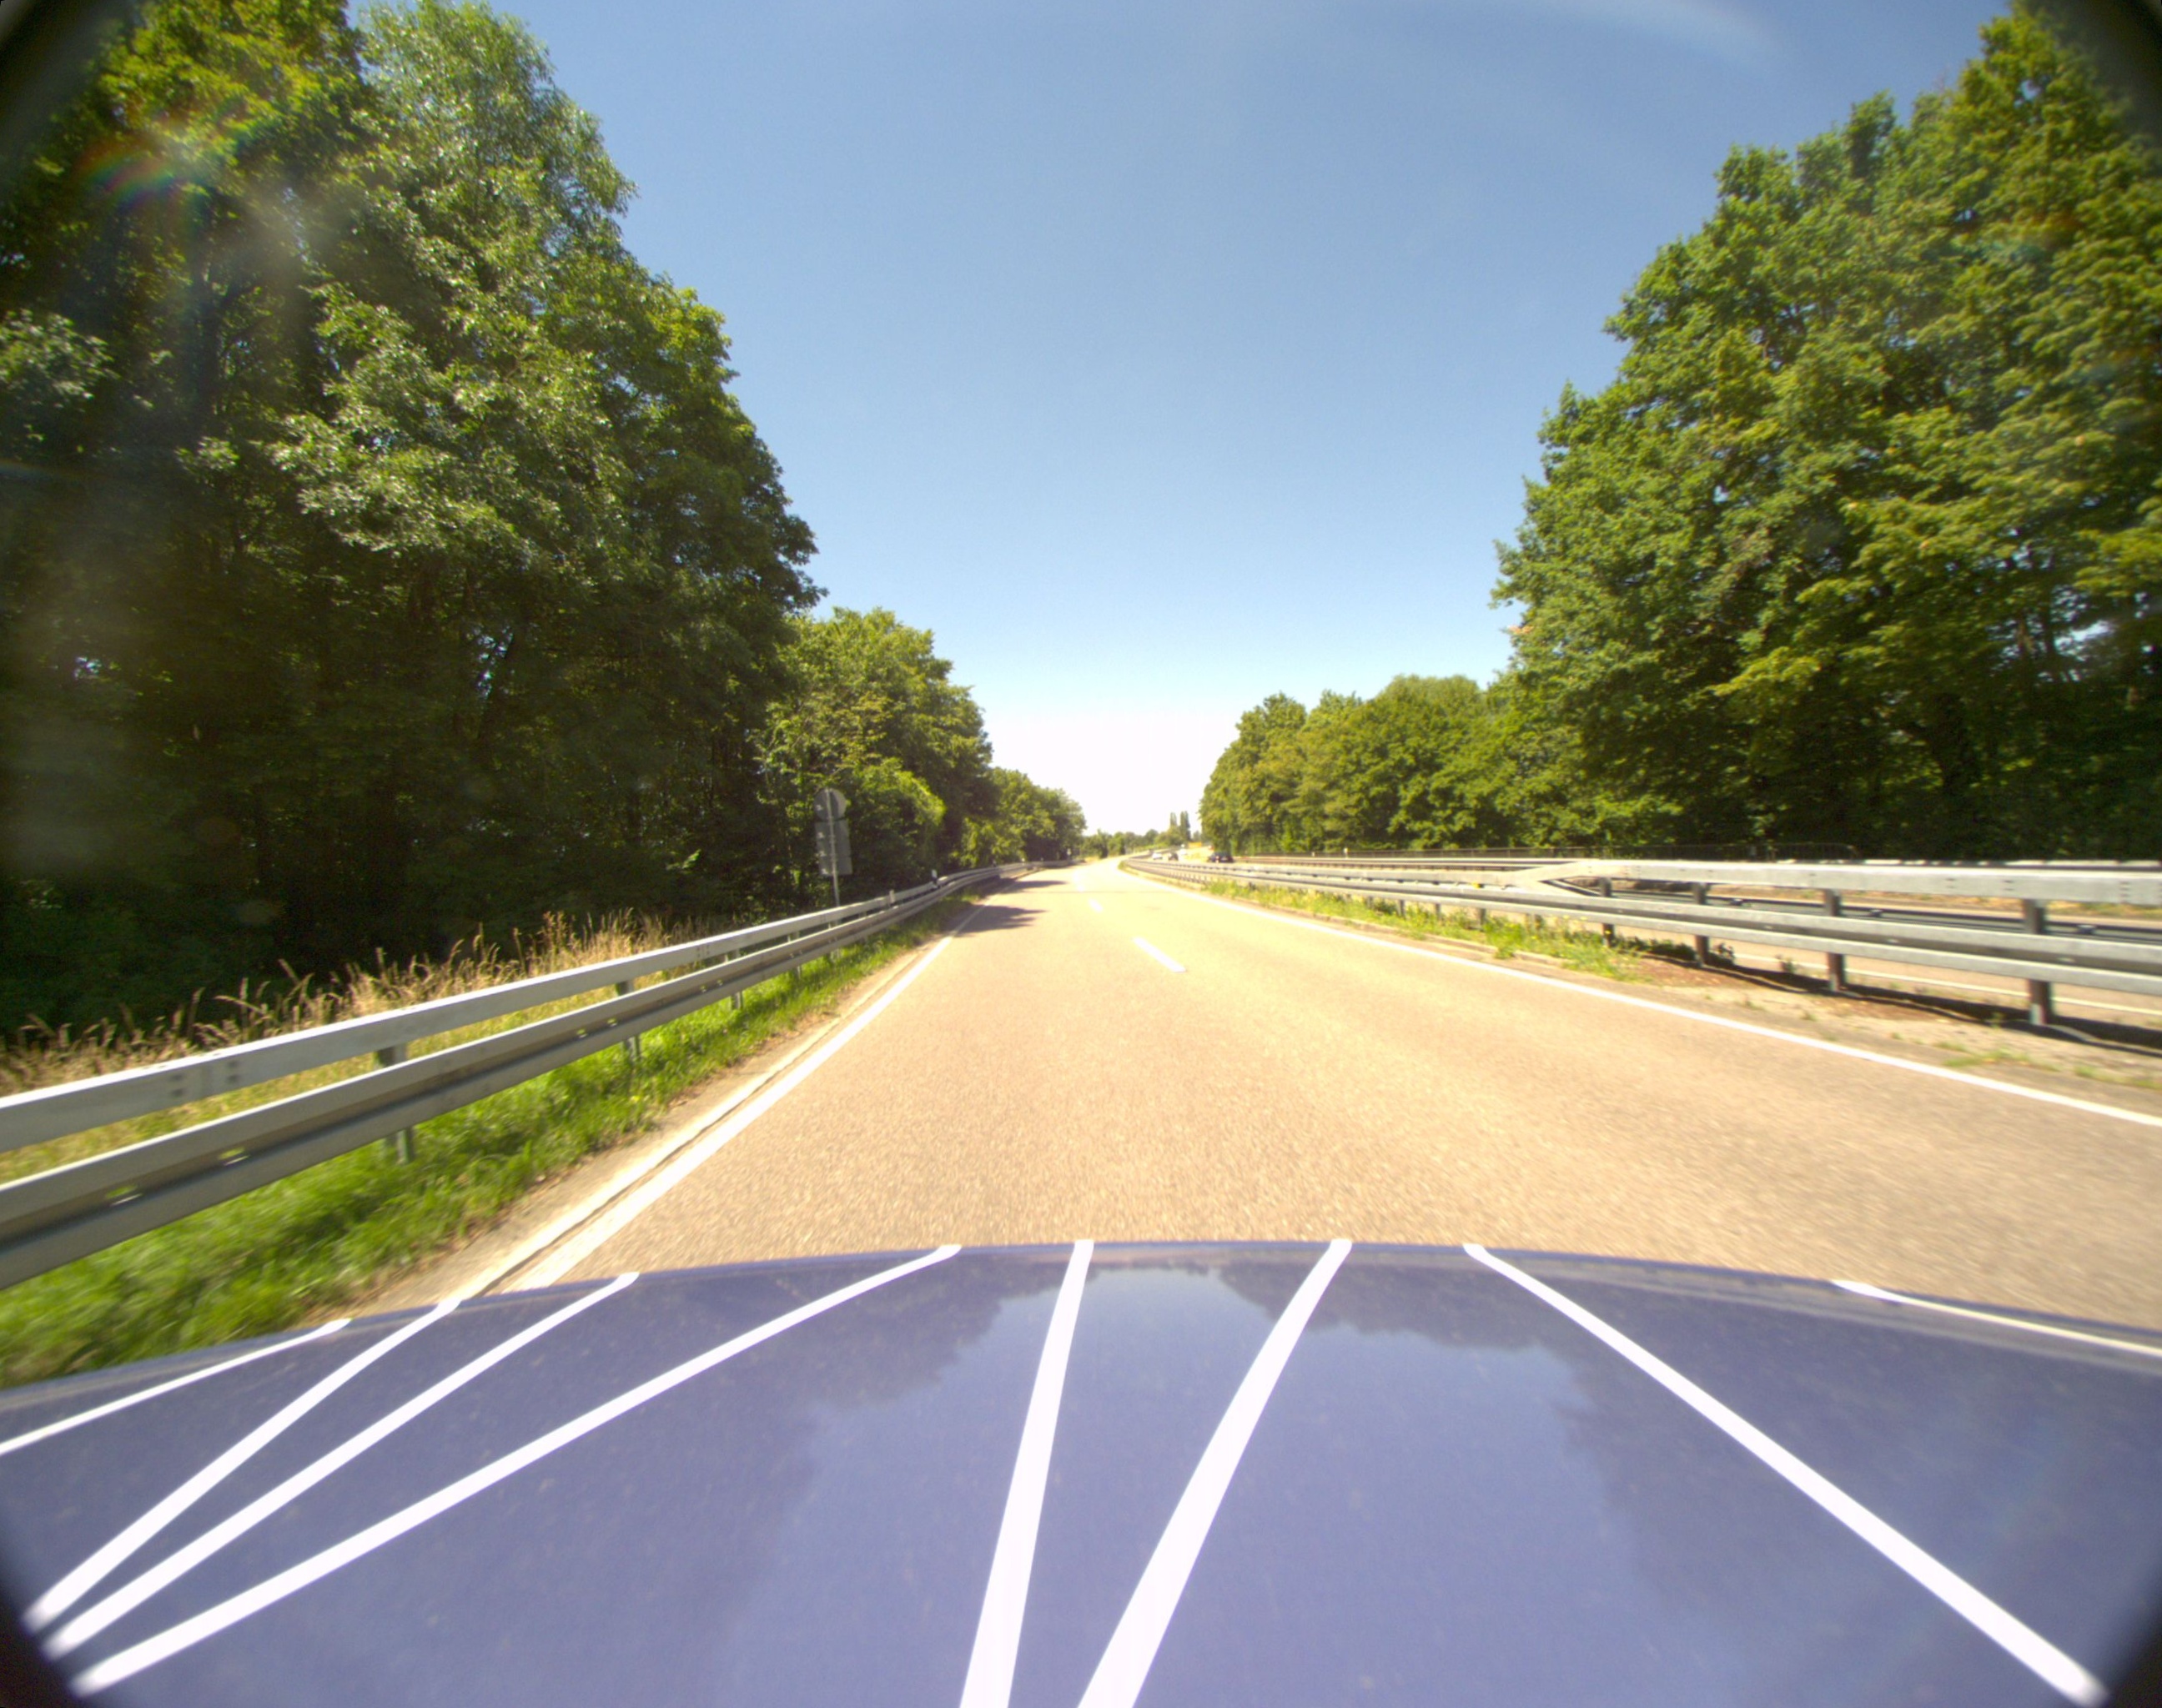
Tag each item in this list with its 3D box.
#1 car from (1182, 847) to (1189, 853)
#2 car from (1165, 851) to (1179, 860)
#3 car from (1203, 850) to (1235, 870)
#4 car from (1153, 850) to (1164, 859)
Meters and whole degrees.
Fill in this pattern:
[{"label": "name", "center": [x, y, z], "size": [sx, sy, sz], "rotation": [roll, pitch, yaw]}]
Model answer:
[{"label": "car", "center": [27.458, -1.133, 200.173], "size": [1.654, 1.439, 4.222], "rotation": [-2, 0, 10]}, {"label": "car", "center": [15.014, 0.263, 125.556], "size": [1.655, 1.519, 3.997], "rotation": [-2, 0, -1]}, {"label": "car", "center": [11.690, 0.484, 64.657], "size": [1.760, 1.519, 4.683], "rotation": [-2, 0, -1]}, {"label": "car", "center": [15.207, 0.136, 149.034], "size": [1.655, 1.597, 4.220], "rotation": [-2, 0, 1]}]
